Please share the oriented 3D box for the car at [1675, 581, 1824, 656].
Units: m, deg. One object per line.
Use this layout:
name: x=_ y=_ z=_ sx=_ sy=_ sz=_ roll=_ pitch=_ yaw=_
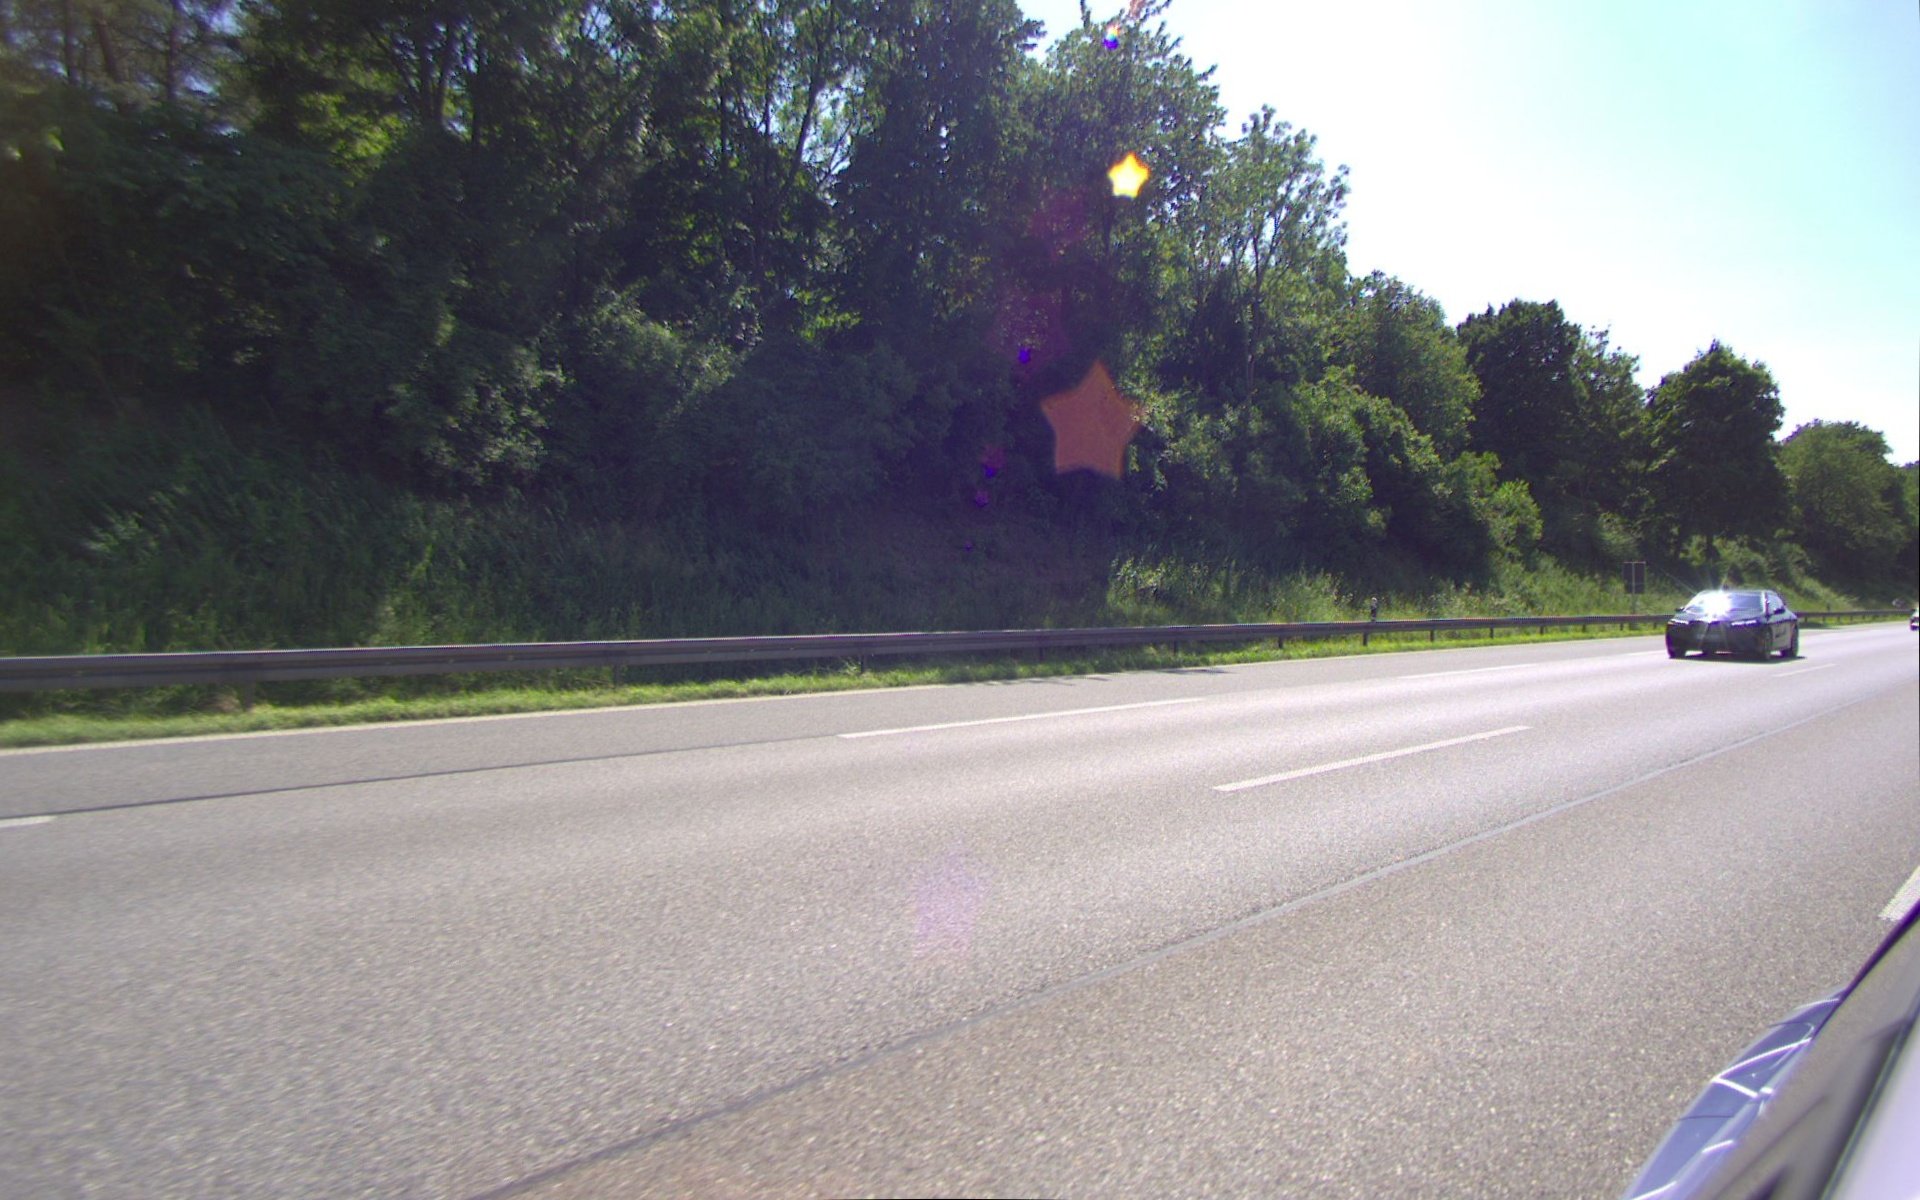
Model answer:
car: x=19.486 y=0.409 z=24.911 sx=4.602 sy=1.690 sz=1.924 roll=0 pitch=0 yaw=-39
